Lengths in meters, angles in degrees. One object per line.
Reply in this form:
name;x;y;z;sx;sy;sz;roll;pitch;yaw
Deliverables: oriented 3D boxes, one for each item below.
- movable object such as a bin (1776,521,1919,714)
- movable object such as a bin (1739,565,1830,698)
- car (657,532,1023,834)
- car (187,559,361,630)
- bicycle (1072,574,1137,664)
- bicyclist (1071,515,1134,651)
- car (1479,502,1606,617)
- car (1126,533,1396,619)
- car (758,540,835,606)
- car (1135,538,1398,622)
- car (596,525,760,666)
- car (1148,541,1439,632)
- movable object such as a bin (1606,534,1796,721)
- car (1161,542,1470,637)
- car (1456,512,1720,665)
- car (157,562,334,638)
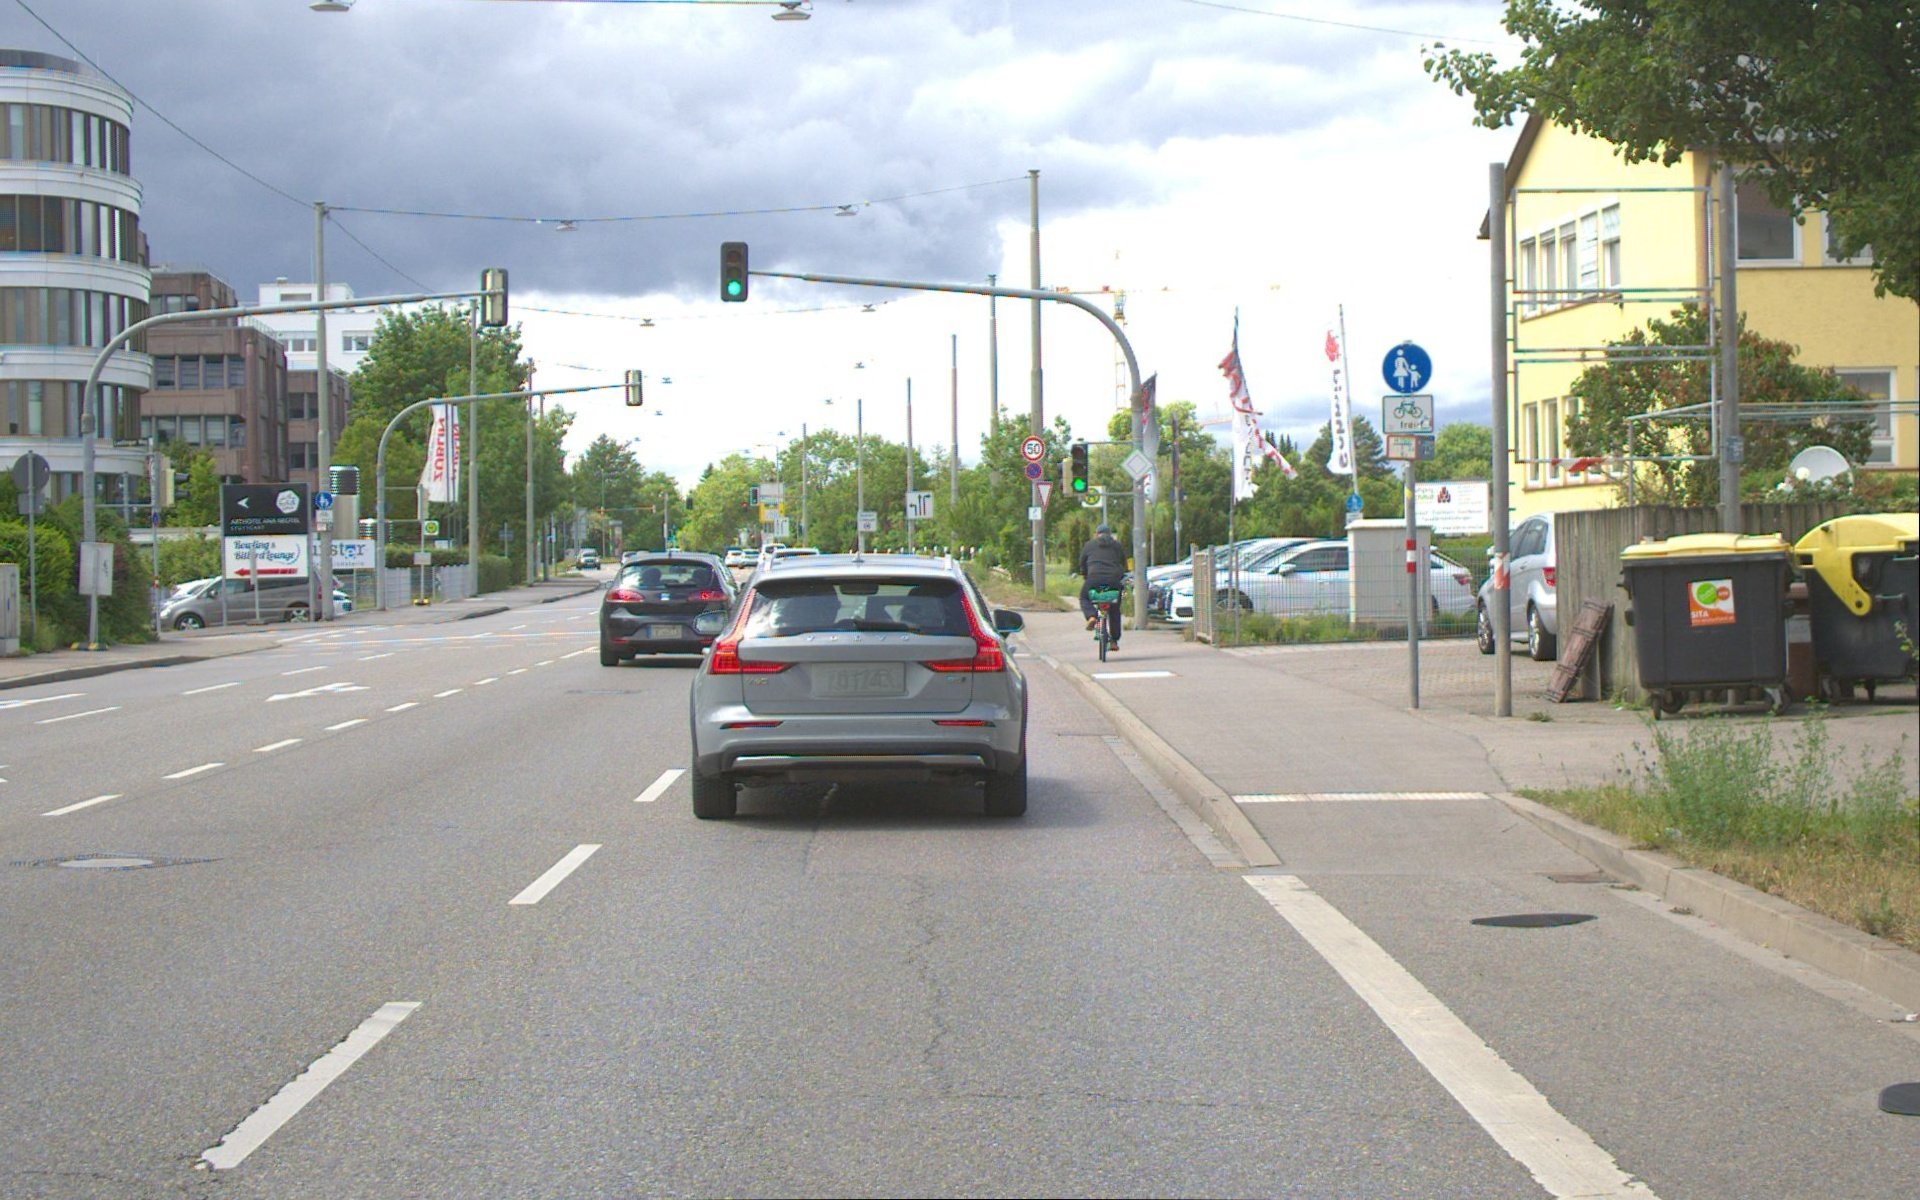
movable object such as a bin;7.126;0.134;26.291;1.322;1.430;1.249;-1;-1;36
movable object such as a bin;6.436;0.249;26.838;0.567;1.023;0.405;-1;-1;36
car;-0.620;0.437;20.079;1.895;1.549;4.000;1;0;0
car;-18.062;-0.132;90.682;4.223;1.382;1.984;-7;0;-7
bicycle;1.832;0.226;43.724;0.638;1.059;1.977;-4;1;-1
bicyclist;1.803;-0.223;43.592;0.638;1.670;0.890;-4;1;-1
car;9.768;-0.651;57.904;1.977;1.815;5.028;-1;0;9
car;5.527;-0.450;63.653;4.800;1.475;2.032;1;1;0
car;-4.408;-0.717;93.161;1.993;1.689;4.000;1;0;-2
car;5.386;-0.371;60.804;4.368;1.399;1.989;1;1;-3
car;-3.607;-0.055;44.481;1.993;1.711;4.000;1;0;-3
car;5.577;-0.238;57.916;4.659;1.488;2.035;0;1;-1
movable object such as a bin;5.599;0.210;25.932;1.320;1.356;1.250;-1;-1;15
car;5.649;-0.182;55.041;4.696;1.488;2.046;0;1;-2
car;6.826;-0.159;37.838;1.875;1.540;4.522;-1;1;-2
car;-17.750;-0.020;85.557;4.092;1.393;1.909;-7;2;-8
